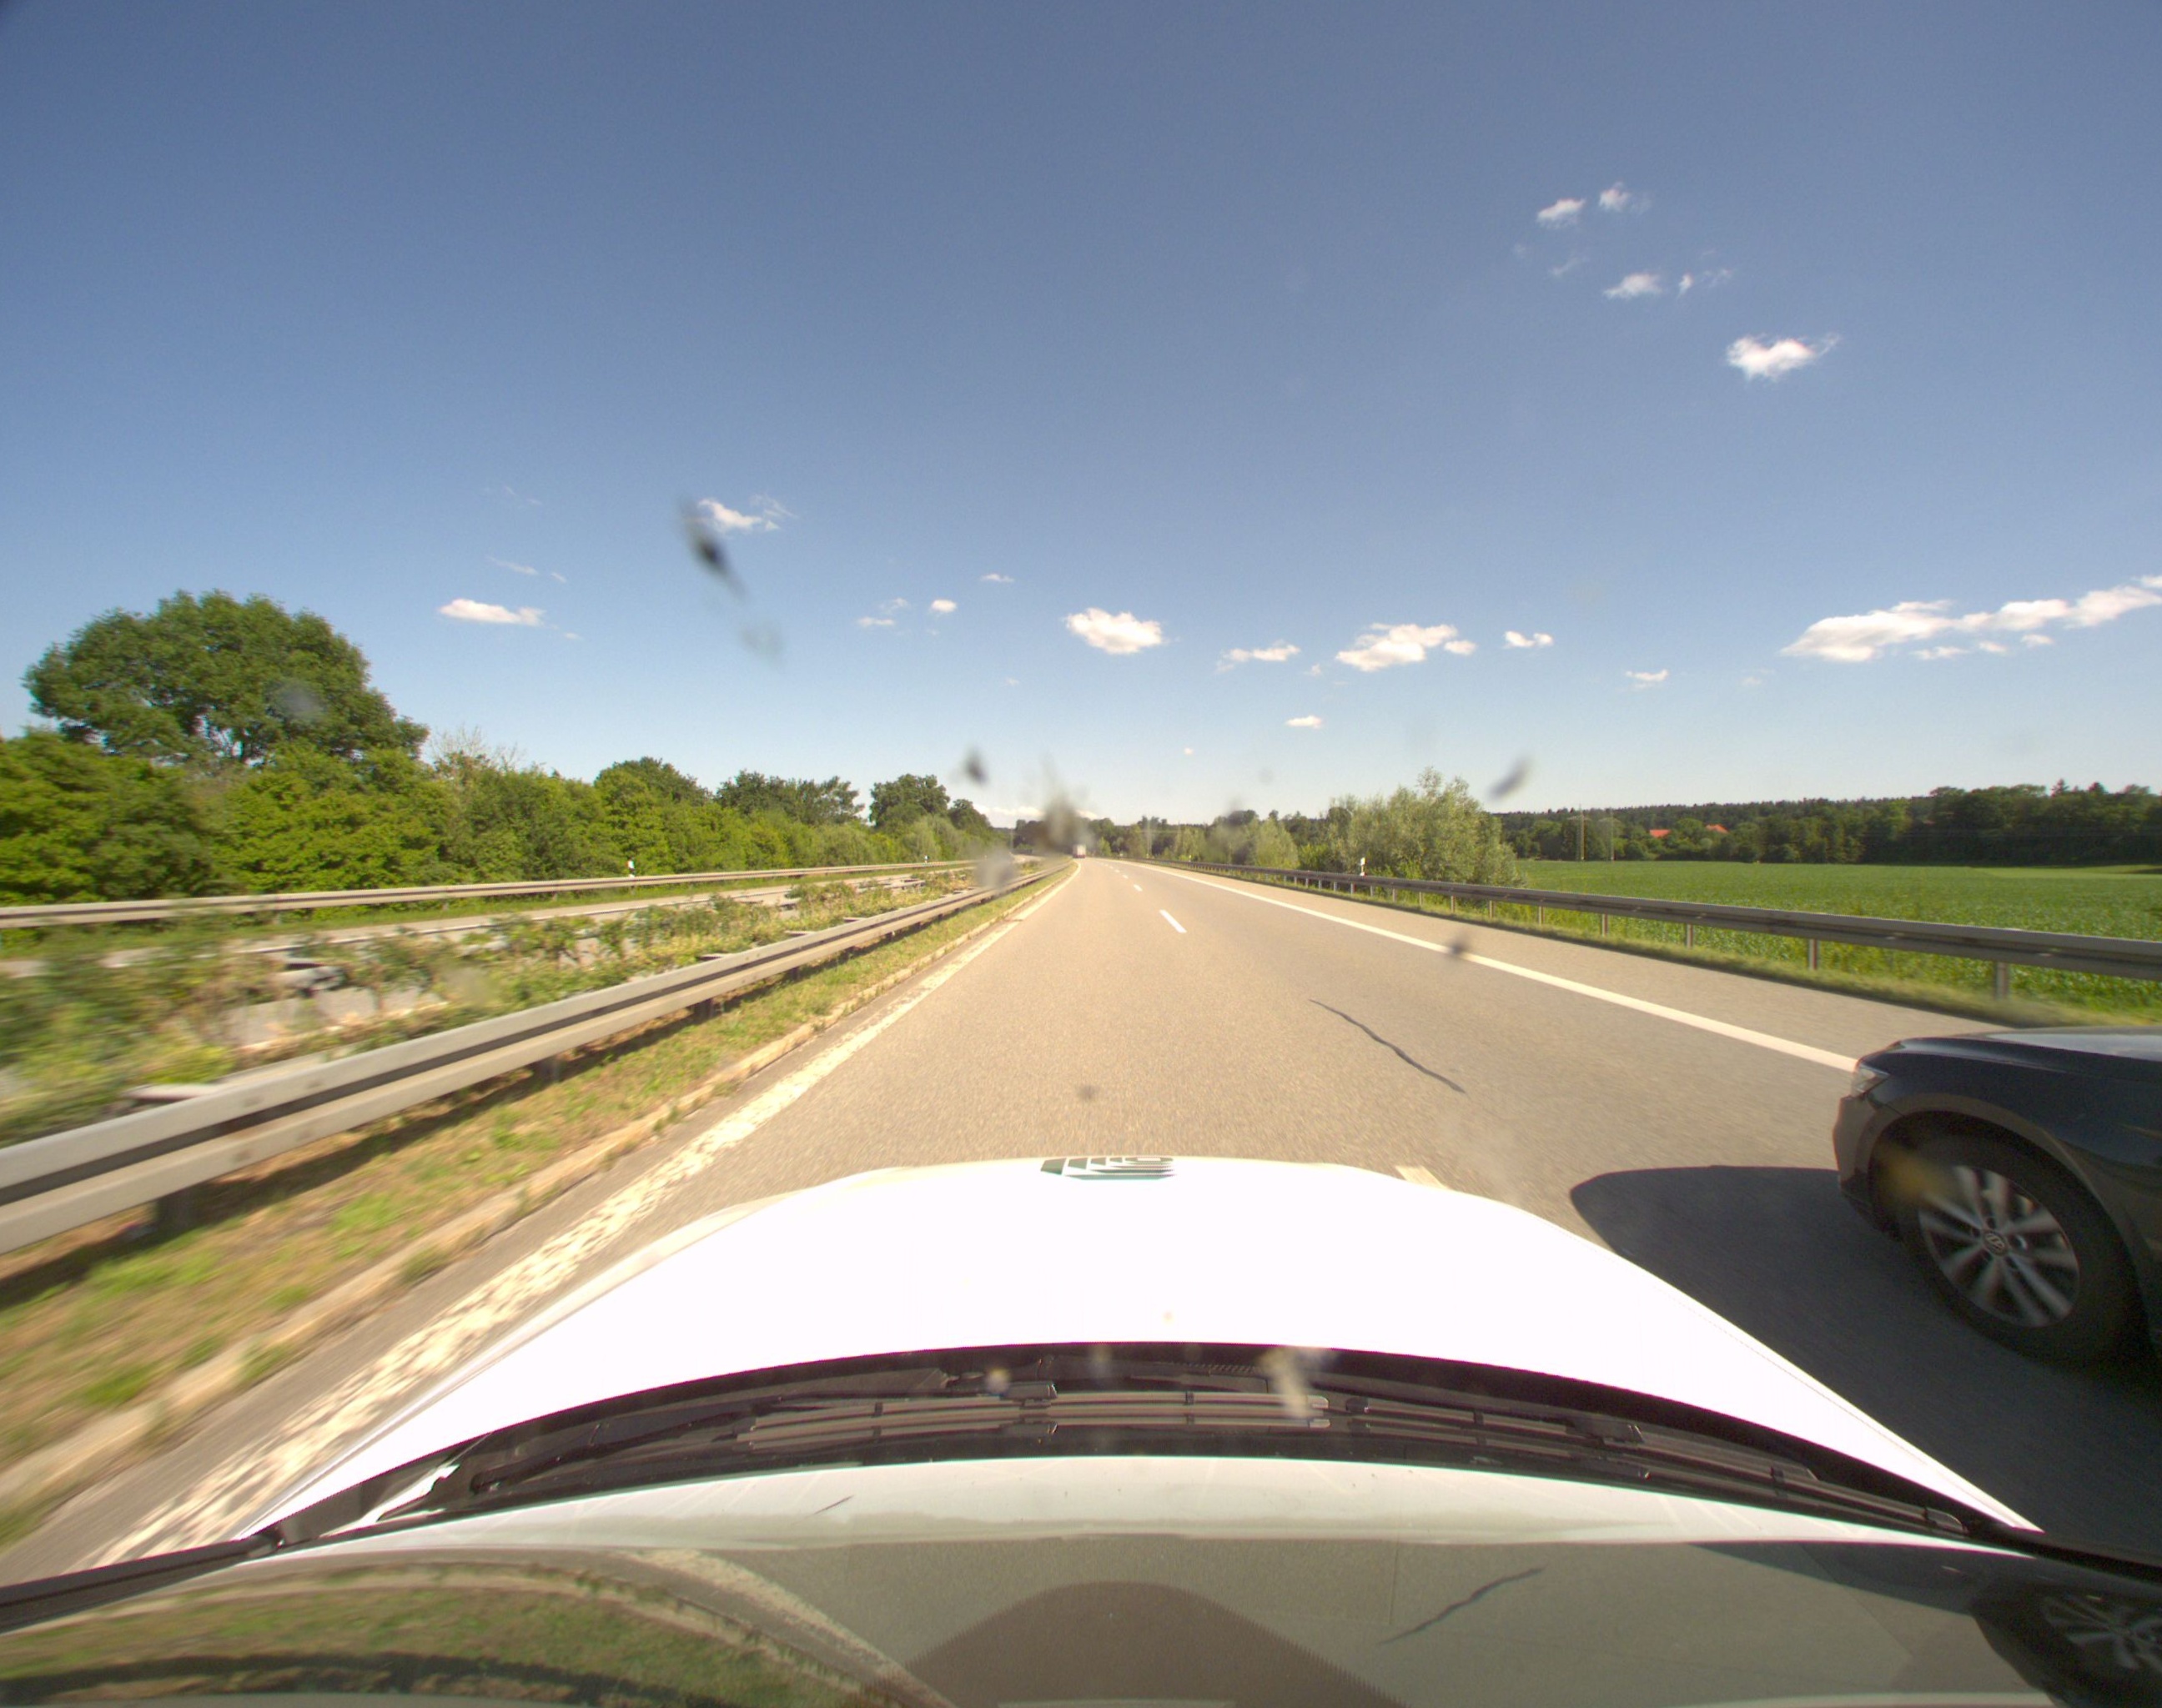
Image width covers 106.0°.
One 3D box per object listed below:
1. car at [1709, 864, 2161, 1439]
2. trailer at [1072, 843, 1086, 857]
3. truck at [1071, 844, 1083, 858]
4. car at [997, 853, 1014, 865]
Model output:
[{"bbox_3d":[3.535,0.746,1.301,1.712,1.400,4.414,-1,0,1],"label":"car"},{"bbox_3d":[-0.583,-1.101,242.454,2.881,4.066,12.394,-1,0,-6],"label":"trailer"},{"bbox_3d":[-1.311,-0.959,248.844,2.828,4.012,6.570,-1,0,-7],"label":"truck"},{"bbox_3d":[-9.722,0.616,105.108,1.671,1.441,3.999,-2,0,0],"label":"car"}]
